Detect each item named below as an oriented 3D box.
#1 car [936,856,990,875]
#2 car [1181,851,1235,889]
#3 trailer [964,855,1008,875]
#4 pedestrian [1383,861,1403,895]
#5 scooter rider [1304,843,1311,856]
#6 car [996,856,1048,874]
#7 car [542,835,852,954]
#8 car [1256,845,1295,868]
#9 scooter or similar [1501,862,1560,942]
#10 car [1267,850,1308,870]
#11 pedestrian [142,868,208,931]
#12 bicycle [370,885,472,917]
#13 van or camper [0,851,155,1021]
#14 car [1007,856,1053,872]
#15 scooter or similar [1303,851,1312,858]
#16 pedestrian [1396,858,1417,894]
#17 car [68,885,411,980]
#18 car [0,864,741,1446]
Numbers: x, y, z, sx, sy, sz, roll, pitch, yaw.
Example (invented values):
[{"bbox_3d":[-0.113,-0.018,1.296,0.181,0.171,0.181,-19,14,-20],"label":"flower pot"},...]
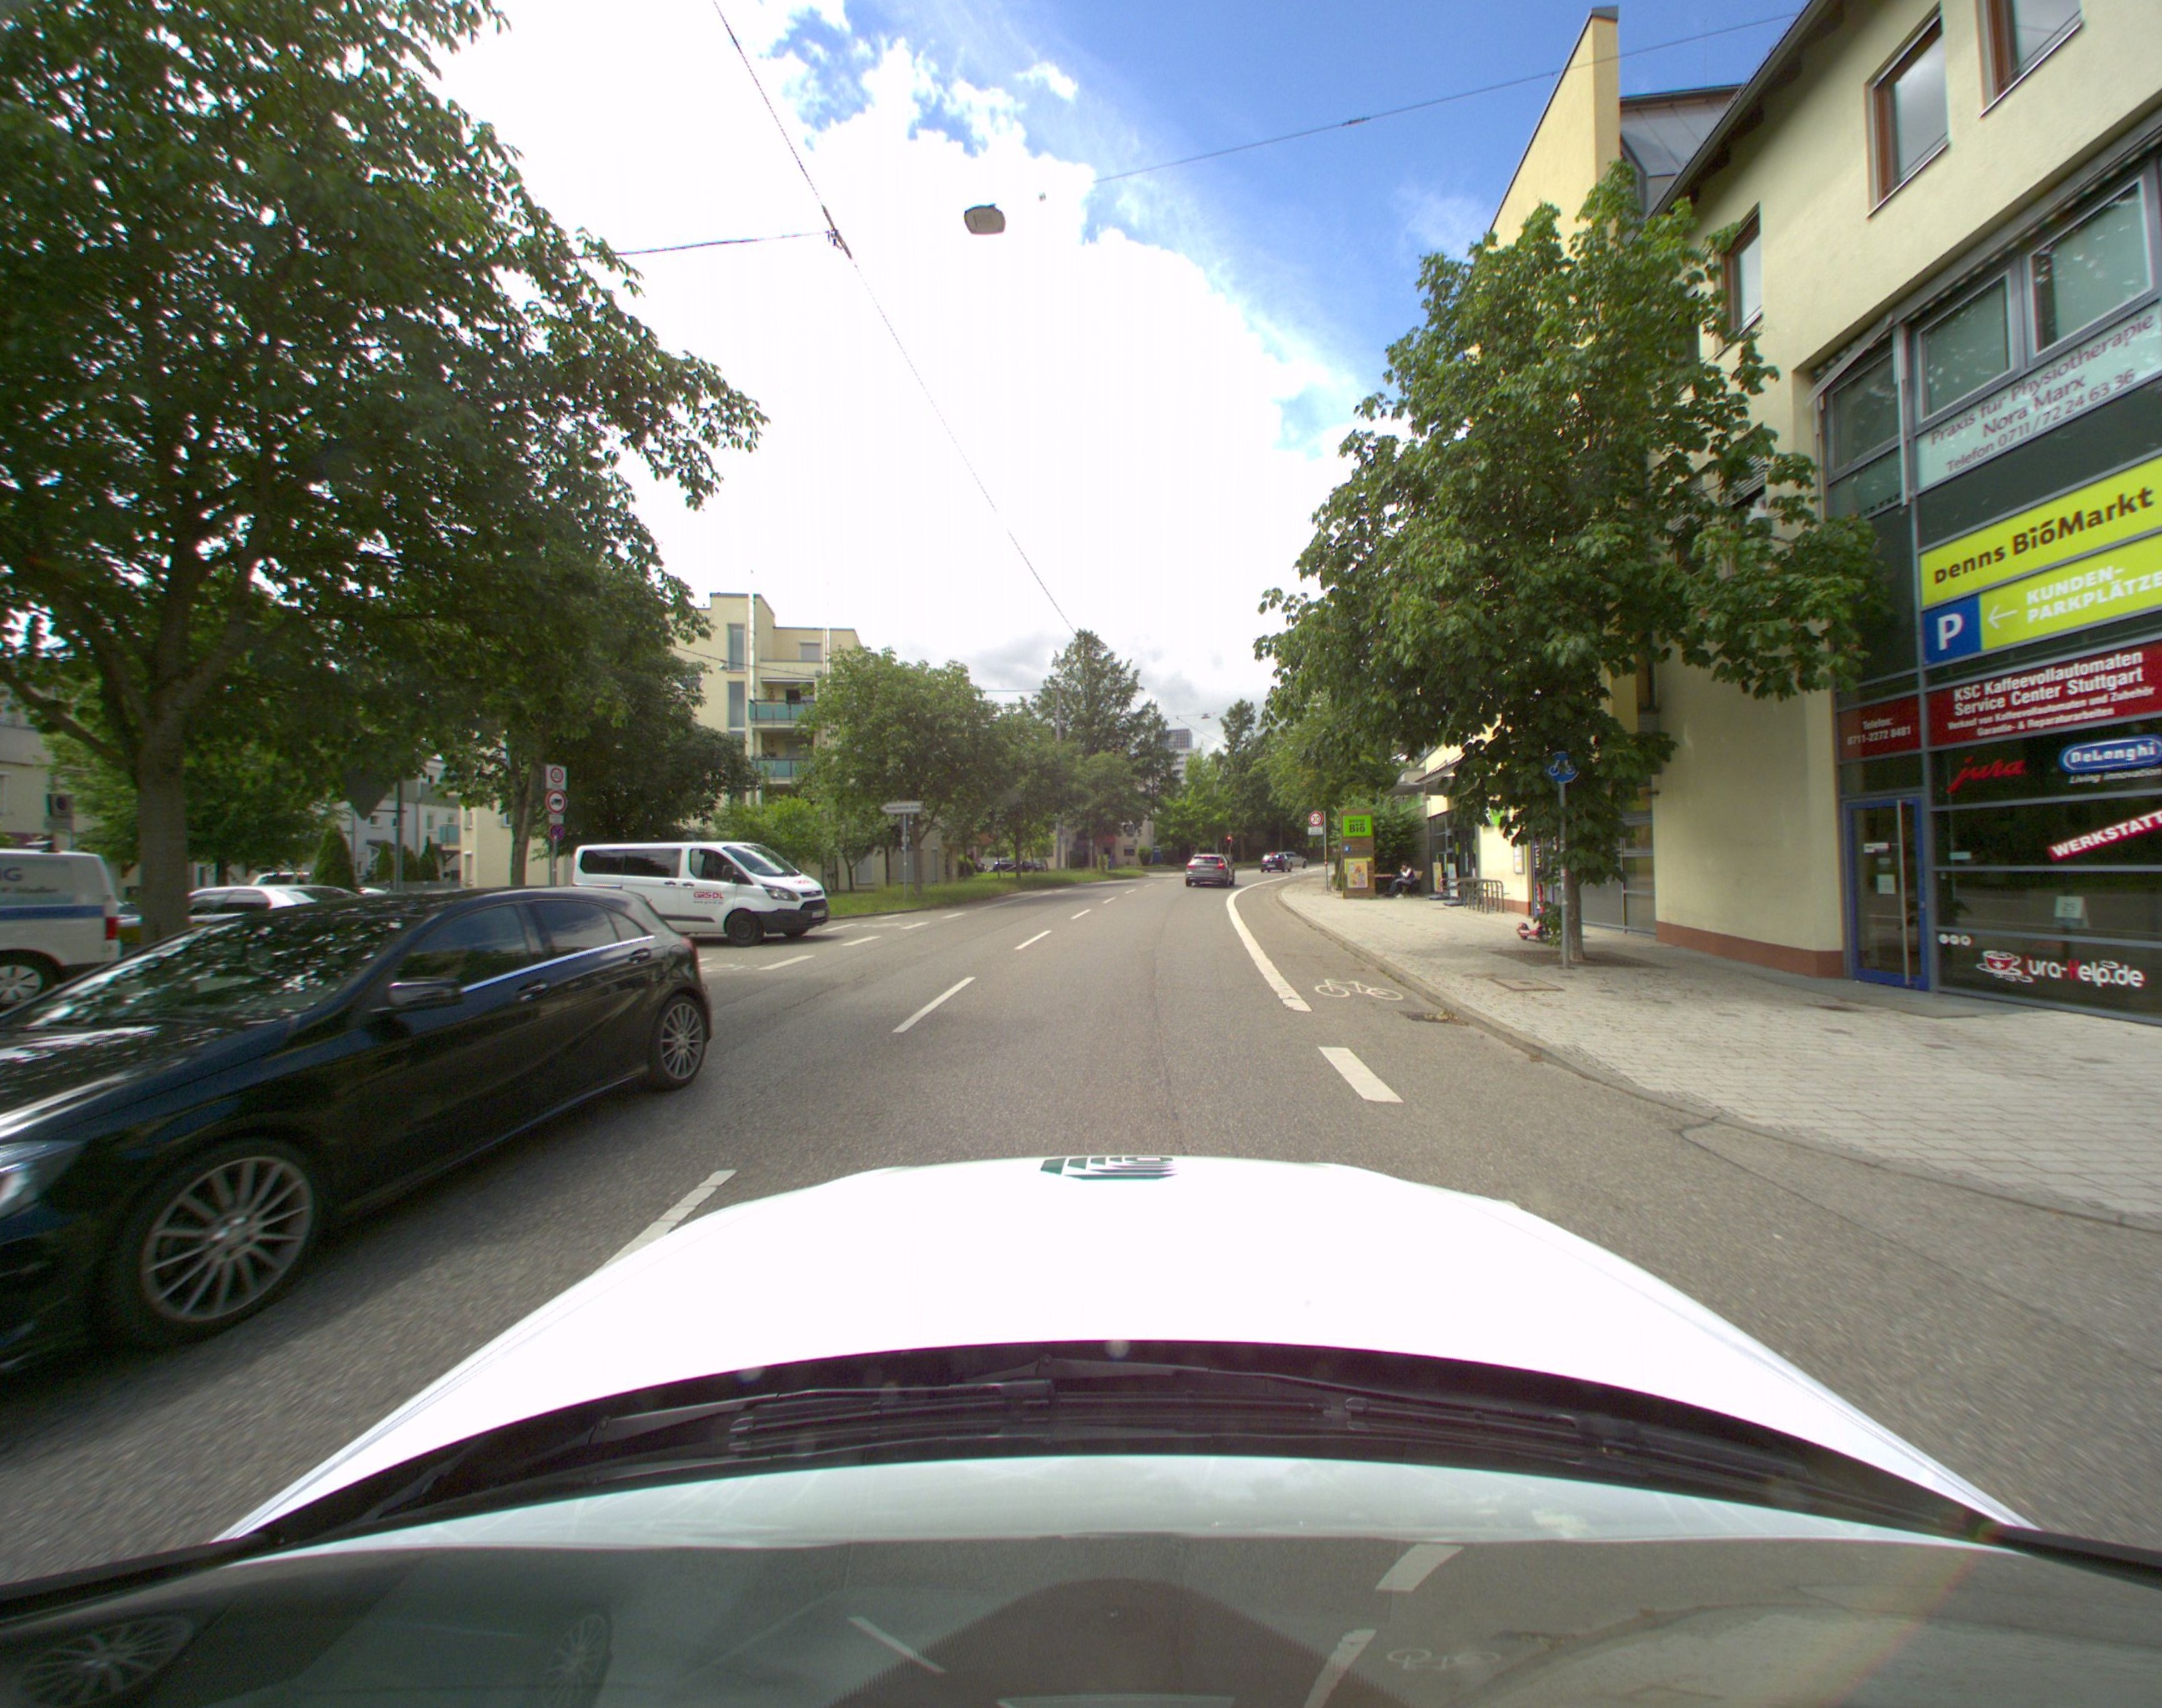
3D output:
[{"bbox_3d":[-9.996,0.983,69.072,4.150,1.523,1.906,-2,-1,9],"label":"car"},{"bbox_3d":[5.863,0.666,37.223,1.942,1.523,4.347,2,1,15],"label":"car"},{"bbox_3d":[-9.052,1.088,77.879,3.885,1.799,1.633,0,-4,7],"label":"trailer"},{"bbox_3d":[10.884,0.827,28.406,0.519,1.181,0.501,0,-1,0],"label":"pedestrian"},{"bbox_3d":[30.893,-0.597,110.968,0.706,1.727,0.676,0,-1,-16],"label":"scooter rider"},{"bbox_3d":[-4.907,0.910,68.134,4.053,1.400,1.799,0,-4,9],"label":"car"},{"bbox_3d":[-7.522,0.775,16.207,5.180,1.993,2.114,-3,0,10],"label":"car"},{"bbox_3d":[14.278,0.140,59.634,1.788,1.523,4.355,2,1,27],"label":"car"},{"bbox_3d":[7.801,0.801,14.179,0.379,1.316,1.462,0,-1,7],"label":"scooter or similar"},{"bbox_3d":[18.059,0.531,70.992,1.787,1.616,4.356,2,0,39],"label":"car"},{"bbox_3d":[-24.663,1.231,22.187,0.729,1.594,0.816,-1,4,8],"label":"pedestrian"},{"bbox_3d":[-19.129,1.360,23.661,2.232,0.860,0.459,0,-1,-30],"label":"bicycle"},{"bbox_3d":[-13.919,0.971,9.113,1.768,1.994,4.406,-1,-1,29],"label":"van or camper"},{"bbox_3d":[-4.837,0.957,77.155,4.053,1.400,1.799,0,-4,9],"label":"car"},{"bbox_3d":[30.895,0.066,110.961,0.955,0.962,0.686,-1,-1,-18],"label":"scooter or similar"},{"bbox_3d":[11.015,0.755,27.591,0.573,1.204,0.504,0,-1,10],"label":"pedestrian"},{"bbox_3d":[-13.799,1.252,13.503,3.996,1.413,1.818,-1,-1,6],"label":"car"},{"bbox_3d":[-3.604,0.883,4.074,1.679,1.482,4.231,-4,0,4],"label":"car"}]
